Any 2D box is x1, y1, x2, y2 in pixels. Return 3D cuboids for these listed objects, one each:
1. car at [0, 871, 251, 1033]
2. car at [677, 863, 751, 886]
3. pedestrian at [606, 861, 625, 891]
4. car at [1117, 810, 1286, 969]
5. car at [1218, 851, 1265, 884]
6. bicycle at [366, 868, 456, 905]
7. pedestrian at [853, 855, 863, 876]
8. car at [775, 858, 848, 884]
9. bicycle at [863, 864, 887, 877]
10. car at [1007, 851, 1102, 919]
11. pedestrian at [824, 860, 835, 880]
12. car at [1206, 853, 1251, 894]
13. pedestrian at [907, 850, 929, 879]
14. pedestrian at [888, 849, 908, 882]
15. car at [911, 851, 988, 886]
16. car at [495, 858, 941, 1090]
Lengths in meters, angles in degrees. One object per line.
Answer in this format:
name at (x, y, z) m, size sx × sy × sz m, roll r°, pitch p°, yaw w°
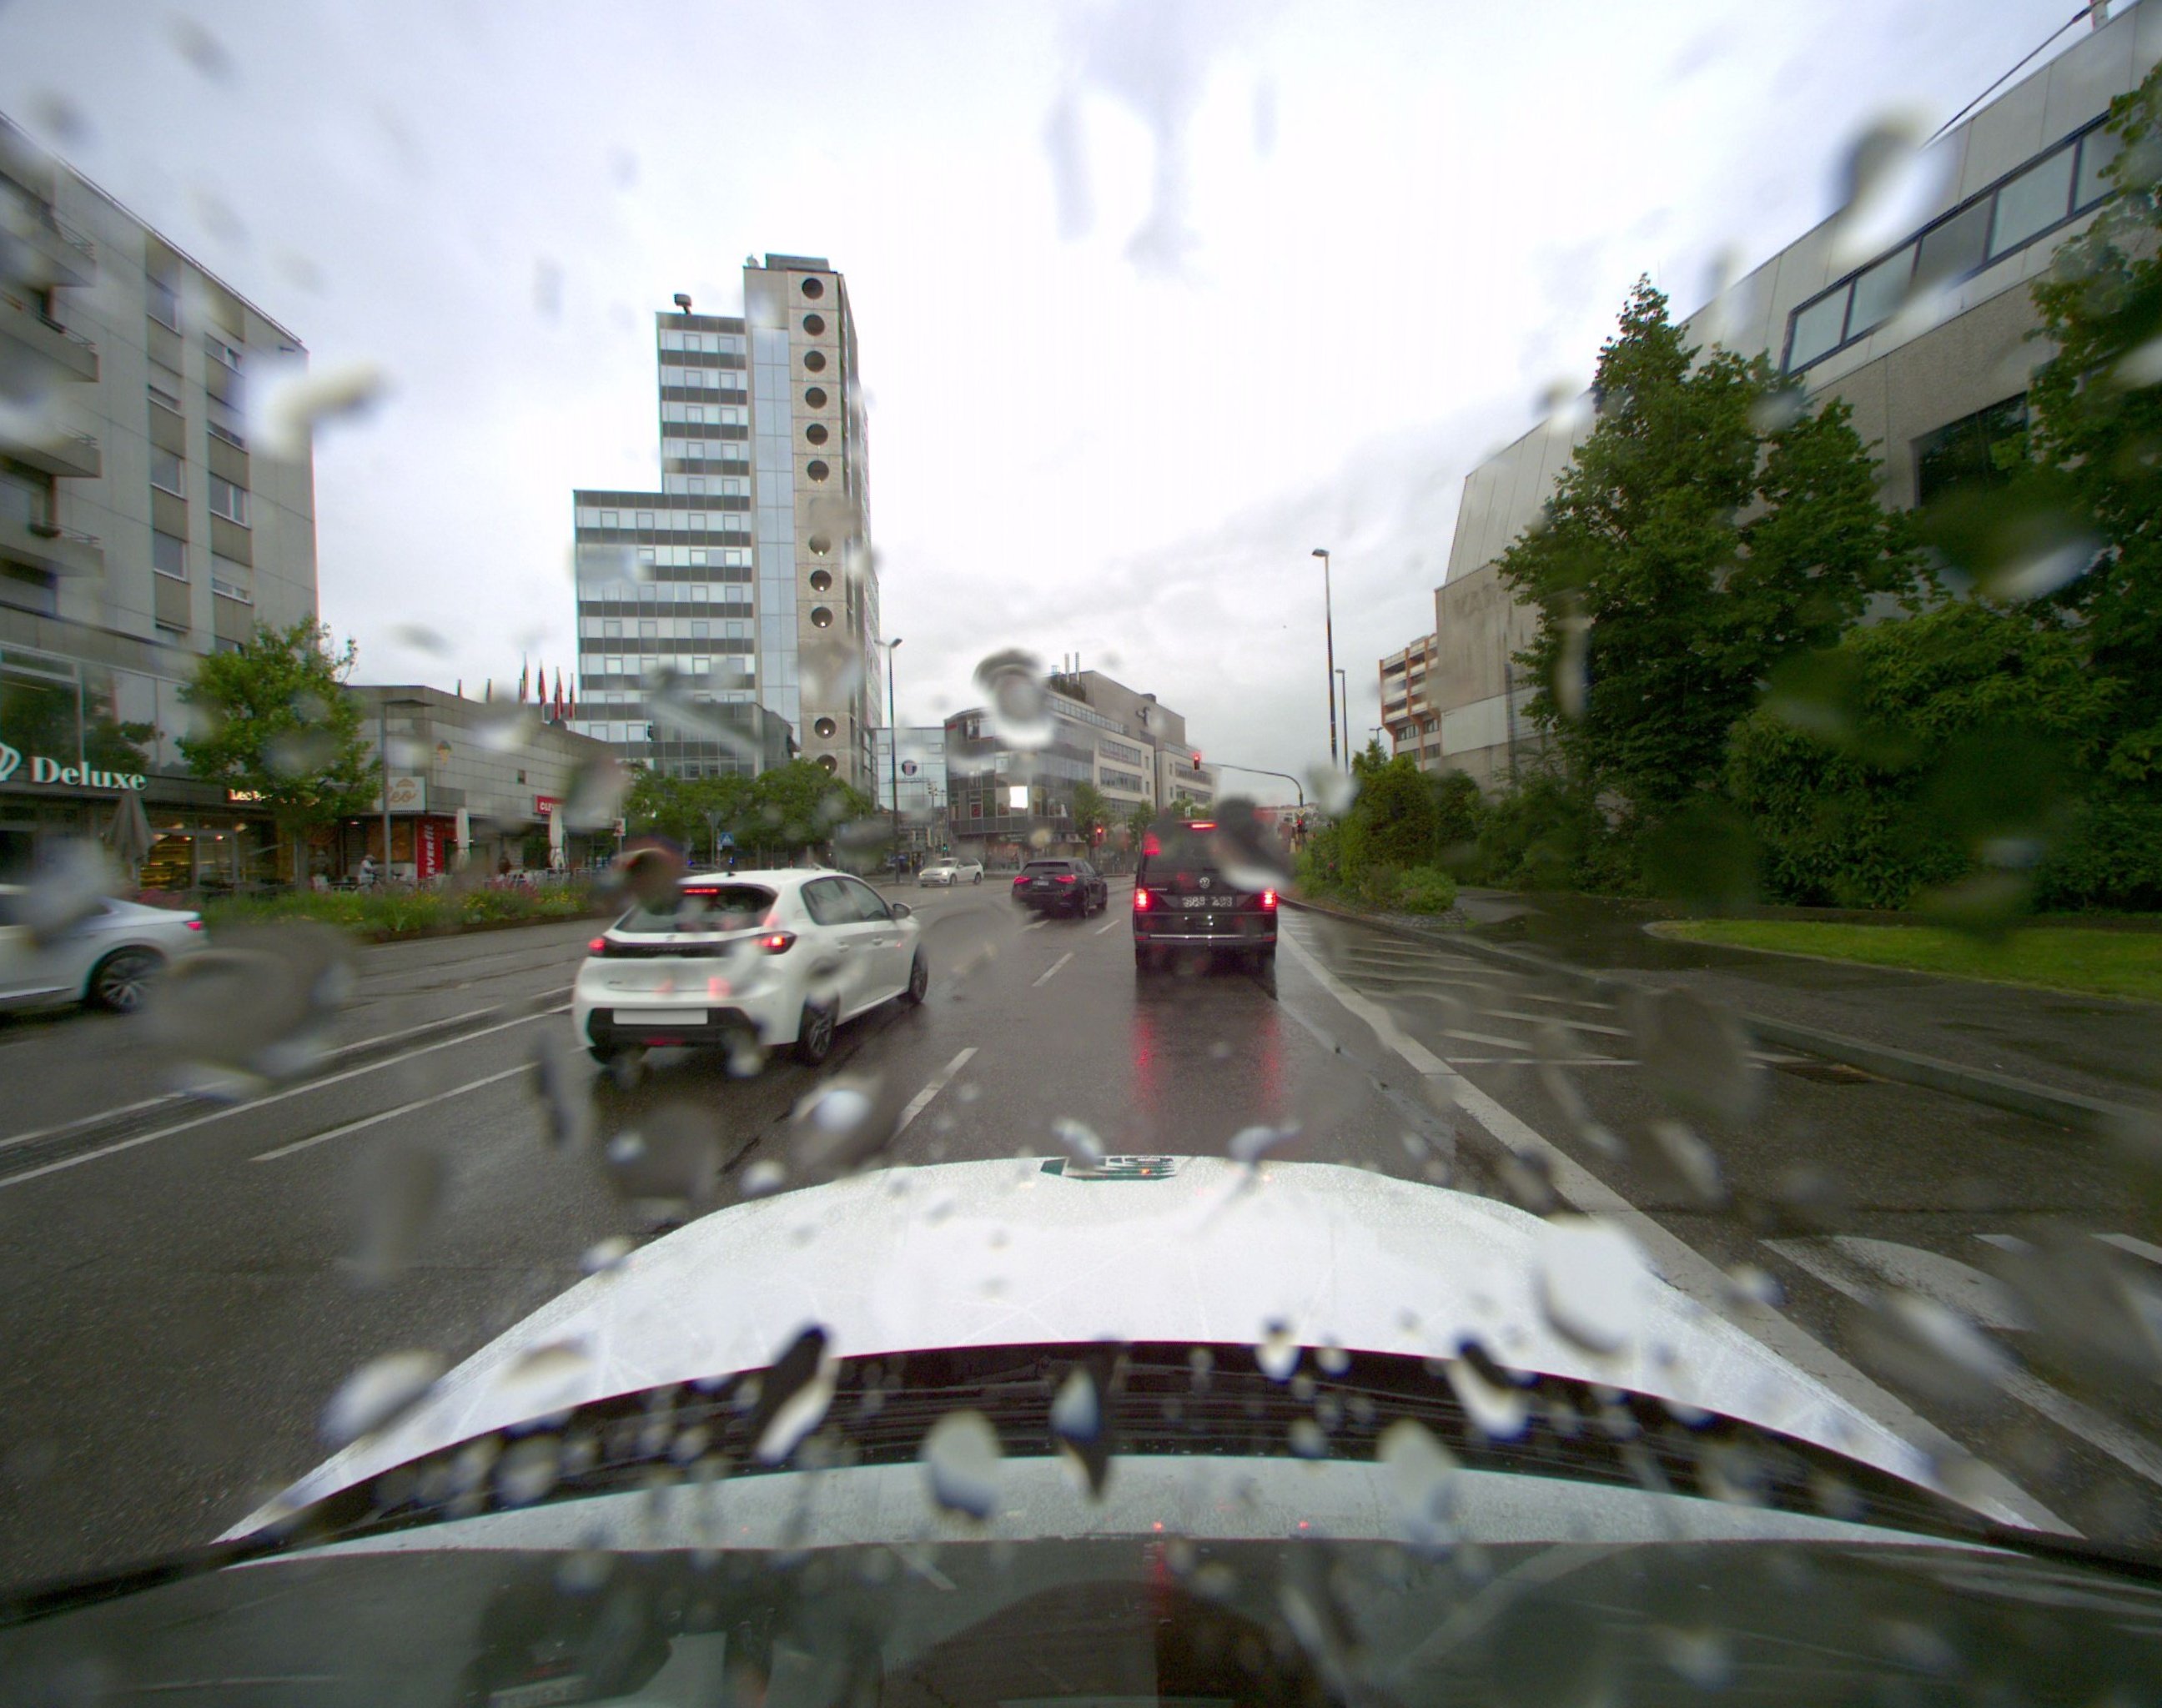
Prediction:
car at (-10.982, 0.954, 7.420) m, size 1.835 × 1.460 × 4.809 m, roll -1°, pitch 0°, yaw 1°
car at (-24.451, 1.345, 54.364) m, size 4.034 × 1.420 × 1.869 m, roll -1°, pitch 0°, yaw -2°
pedestrian at (-21.304, 1.011, 37.280) m, size 0.491 × 1.347 × 0.540 m, roll -2°, pitch 0°, yaw 28°
car at (1.758, 0.455, 12.109) m, size 1.984 × 1.894 × 4.597 m, roll -1°, pitch 0°, yaw 8°
car at (7.718, 0.610, 38.900) m, size 1.897 × 1.400 × 3.472 m, roll -2°, pitch 1°, yaw 15°
bicycle at (-24.181, 1.162, 29.424) m, size 2.540 × 1.223 × 0.695 m, roll -1°, pitch 0°, yaw -4°
pedestrian at (-21.617, 1.094, 78.844) m, size 0.762 × 2.013 × 0.712 m, roll -1°, pitch 0°, yaw -8°
car at (-17.893, 1.120, 54.201) m, size 4.183 × 1.595 × 1.868 m, roll -1°, pitch 0°, yaw -3°
bicycle at (-21.490, 1.738, 84.976) m, size 2.273 × 1.247 × 0.674 m, roll -2°, pitch -1°, yaw -10°
car at (-0.573, 0.706, 20.690) m, size 1.805 × 1.530 × 3.820 m, roll 0°, pitch 0°, yaw 7°
pedestrian at (-24.012, 1.529, 77.644) m, size 0.757 × 1.868 × 0.824 m, roll -2°, pitch -1°, yaw -35°
car at (6.017, 0.737, 32.897) m, size 1.623 × 1.448 × 4.283 m, roll -1°, pitch 1°, yaw 12°
pedestrian at (-10.219, 0.663, 51.195) m, size 0.838 × 1.819 × 1.030 m, roll -3°, pitch -1°, yaw 24°
pedestrian at (-11.420, 0.731, 50.854) m, size 1.164 × 2.013 × 1.322 m, roll -1°, pitch 0°, yaw -15°
car at (-6.666, 0.688, 41.776) m, size 1.870 × 1.682 × 4.528 m, roll -1°, pitch 0°, yaw 20°
car at (-2.727, 0.792, 7.242) m, size 1.862 × 1.462 × 3.880 m, roll -1°, pitch 0°, yaw 7°
